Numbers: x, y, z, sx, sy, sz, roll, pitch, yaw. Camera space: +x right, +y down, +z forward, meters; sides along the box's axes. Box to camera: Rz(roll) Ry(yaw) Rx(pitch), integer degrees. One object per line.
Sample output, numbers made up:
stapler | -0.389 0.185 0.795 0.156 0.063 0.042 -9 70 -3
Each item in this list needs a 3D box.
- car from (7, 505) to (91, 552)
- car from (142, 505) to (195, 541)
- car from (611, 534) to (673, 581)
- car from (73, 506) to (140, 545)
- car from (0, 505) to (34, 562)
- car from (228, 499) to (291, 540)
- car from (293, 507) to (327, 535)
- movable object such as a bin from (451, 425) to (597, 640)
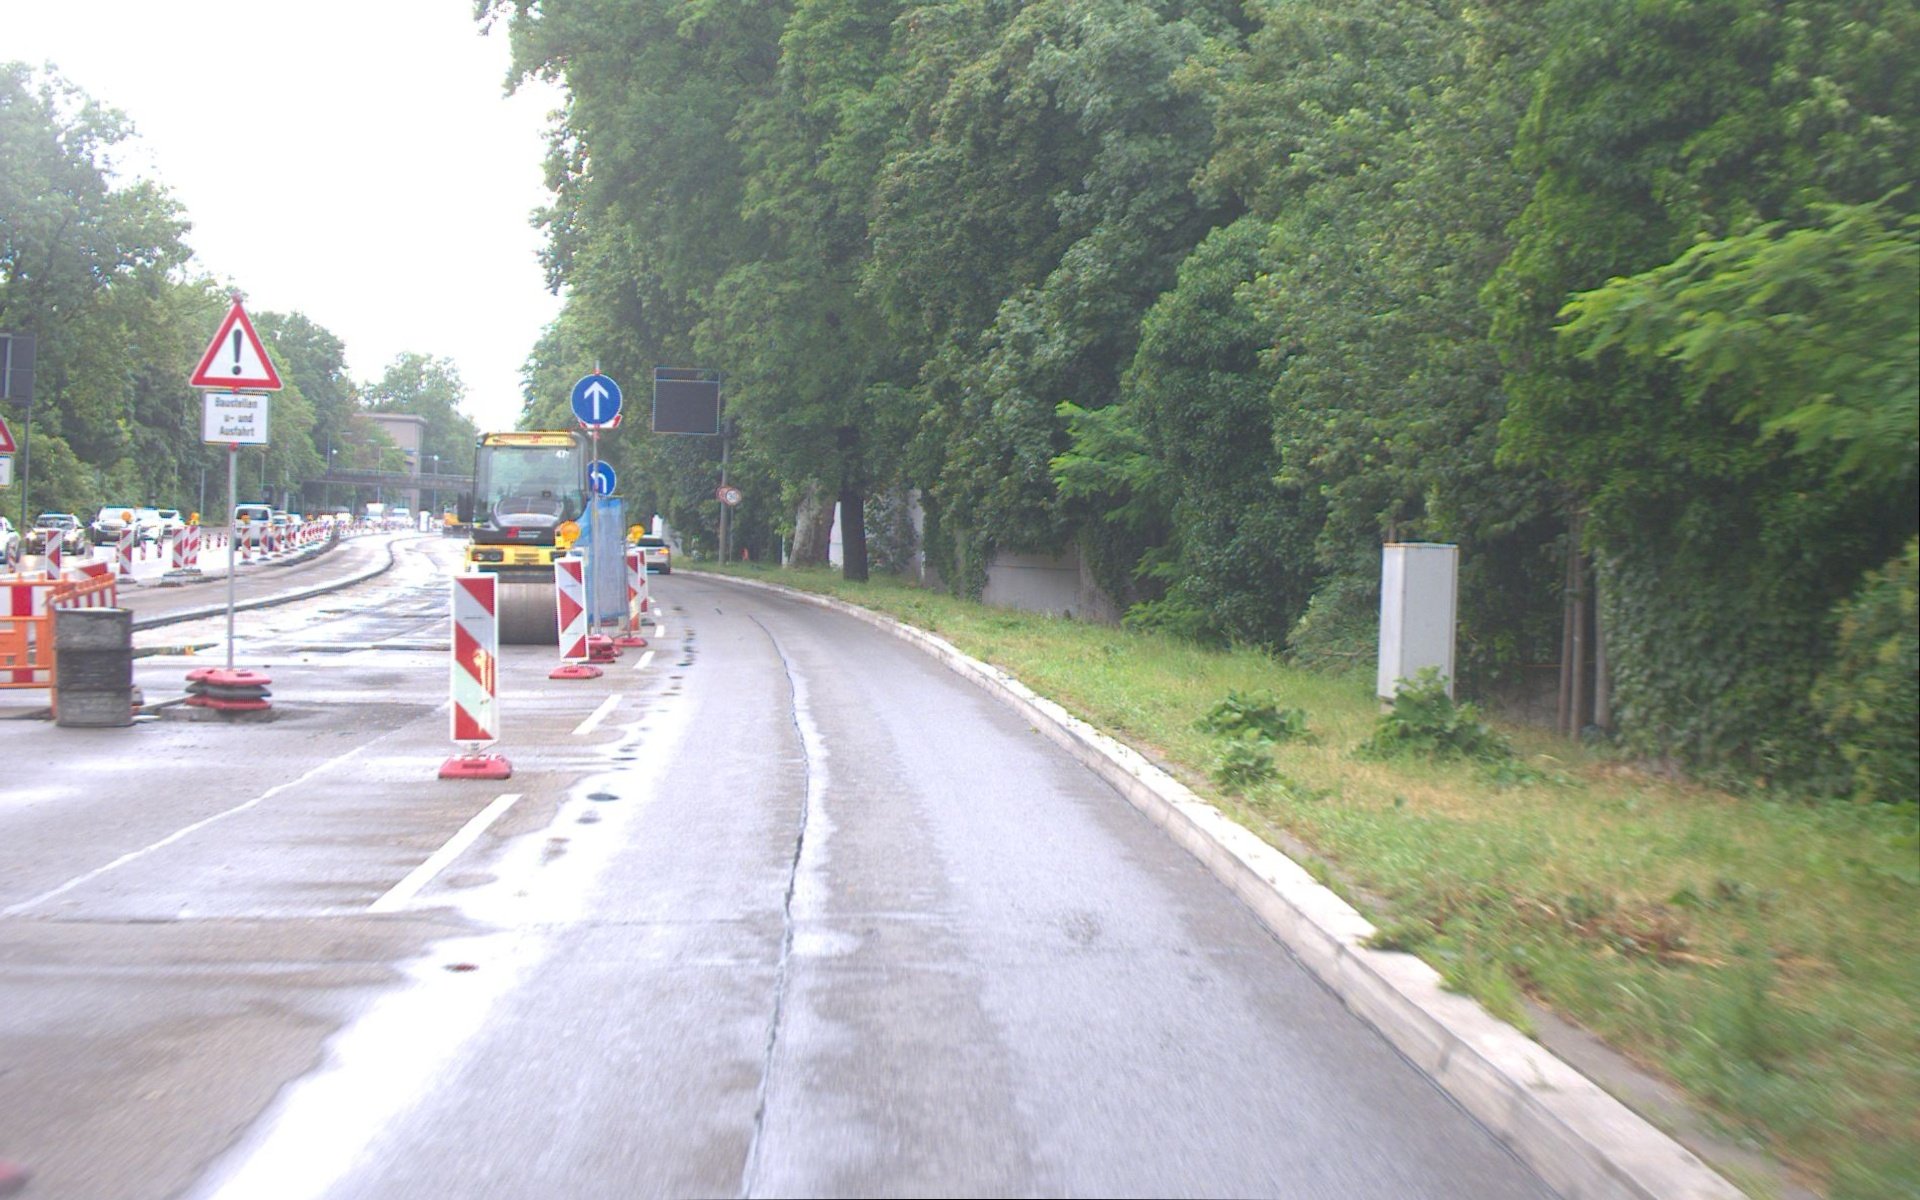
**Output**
car | -32.854 -2.585 124.117 1.927 1.659 4.653 1 1 -2
car | -38.055 -3.693 165.403 1.927 1.659 4.653 1 1 -6
car | -11.686 -1.578 126.599 1.914 1.592 4.834 2 2 -2
car | -37.508 -3.291 151.199 1.927 1.659 4.653 1 1 -2
car | -28.856 -1.984 101.382 1.927 1.659 4.653 1 1 -2
car | -31.169 -3.575 153.054 1.927 1.772 4.653 1 1 -2
car | -37.552 -4.584 198.692 1.564 1.452 3.381 4 2 -16
movable object such as a bin | -6.038 -0.941 47.899 1.746 2.857 3.535 1 1 -3
